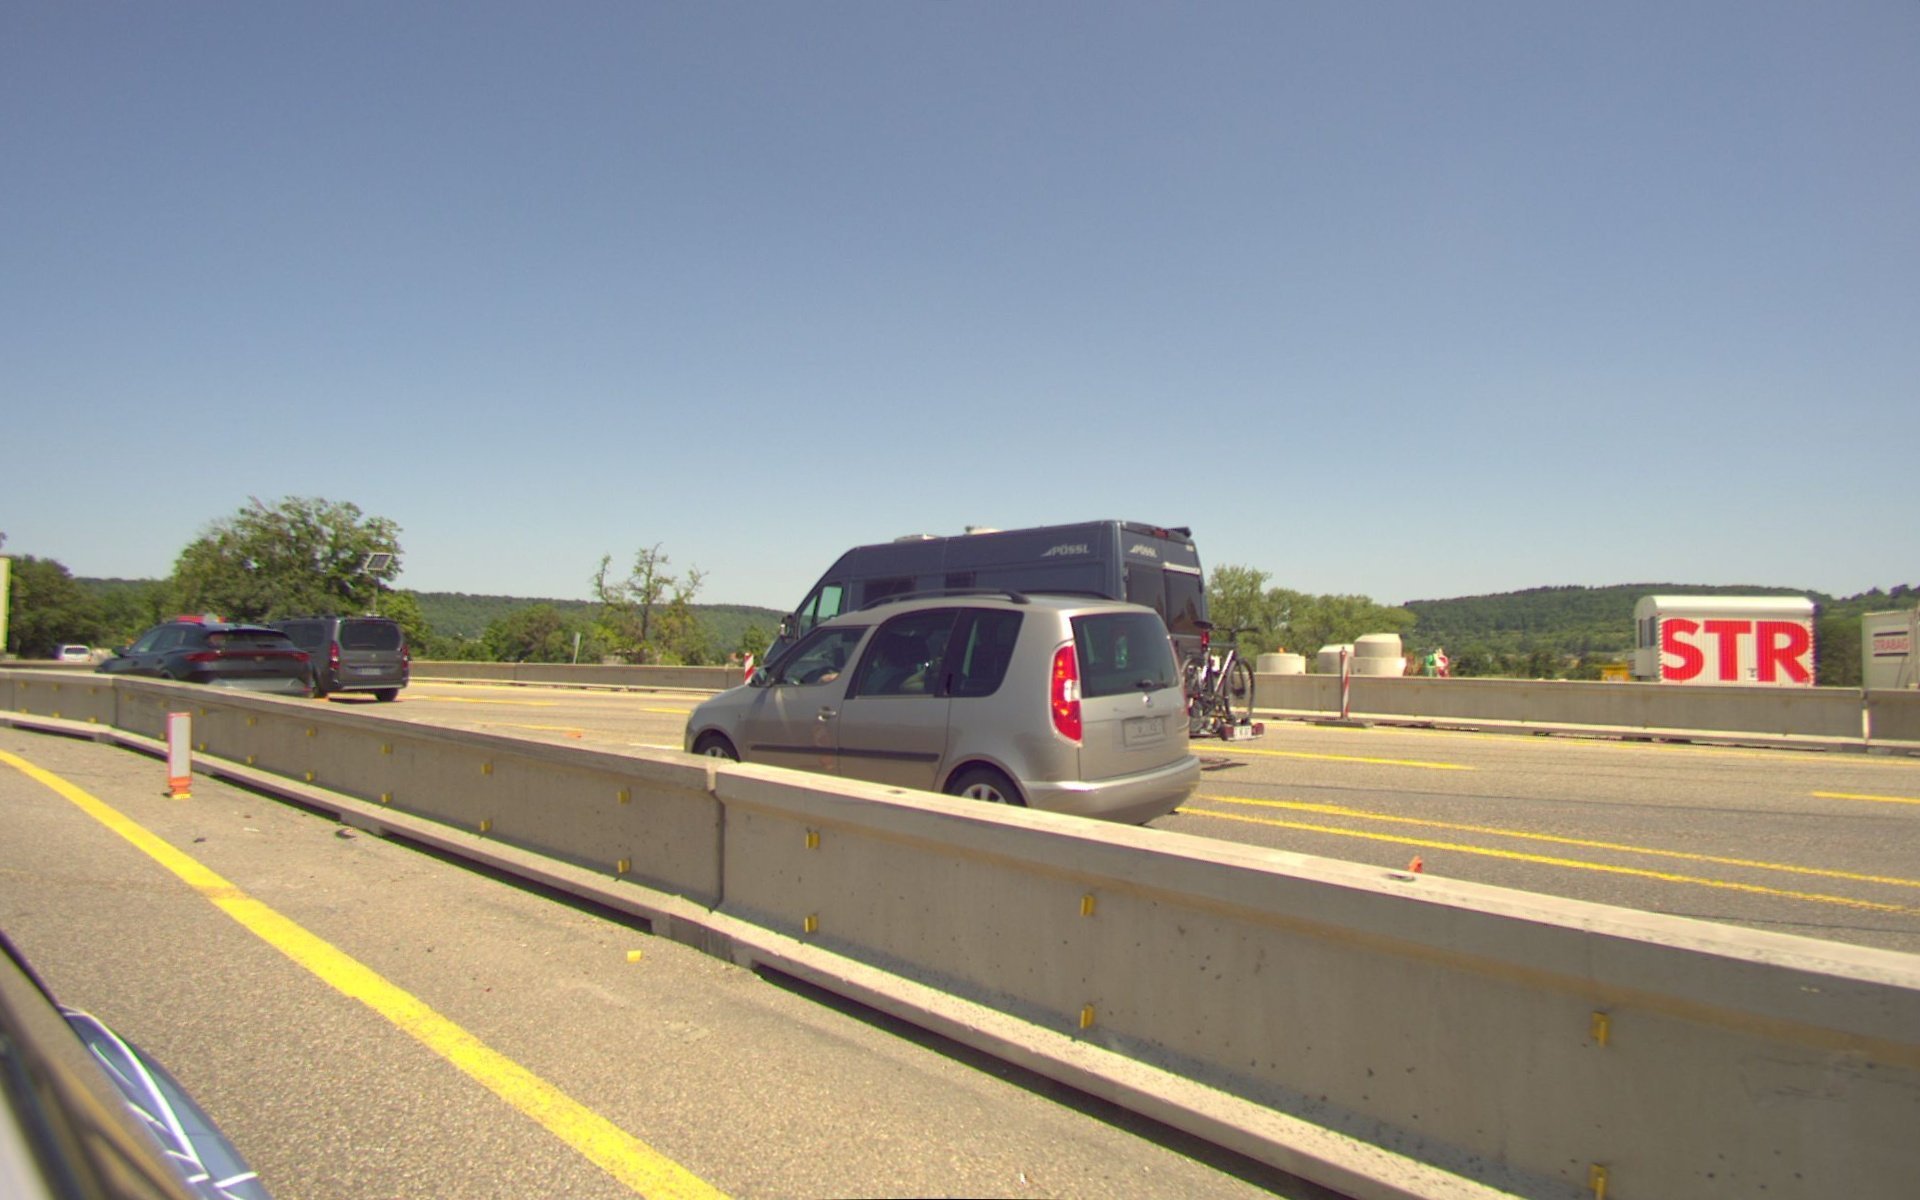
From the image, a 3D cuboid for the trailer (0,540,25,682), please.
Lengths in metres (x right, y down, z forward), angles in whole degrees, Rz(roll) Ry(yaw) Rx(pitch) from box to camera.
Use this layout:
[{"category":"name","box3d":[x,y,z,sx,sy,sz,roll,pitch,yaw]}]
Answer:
[{"category":"trailer","box3d":[-34.951,0.482,31.444,13.818,4.161,2.902,-2,-4,22]}]

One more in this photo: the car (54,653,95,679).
[{"category":"car","box3d":[-68.623,5.149,78.506,1.892,1.956,5.105,2,-5,-36]}]

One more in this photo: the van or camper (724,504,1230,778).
[{"category":"van or camper","box3d":[-0.109,0.505,12.321,6.302,2.561,2.076,-2,-4,41]}]

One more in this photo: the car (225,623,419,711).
[{"category":"car","box3d":[-14.161,1.460,22.386,4.696,1.778,1.761,-2,-4,33]}]

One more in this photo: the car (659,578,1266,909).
[{"category":"car","box3d":[-0.239,0.768,7.105,4.229,1.628,1.737,-2,-2,44]}]

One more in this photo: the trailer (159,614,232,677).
[{"category":"trailer","box3d":[-55.827,3.465,73.731,3.111,4.143,14.182,3,-5,-41]}]

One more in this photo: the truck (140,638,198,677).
[{"category":"truck","box3d":[-66.885,4.893,85.531,7.122,3.087,2.787,-4,-5,44]}]

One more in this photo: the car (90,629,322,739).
[{"category":"car","box3d":[-11.903,1.263,15.879,4.462,1.493,1.674,-2,-5,37]}]

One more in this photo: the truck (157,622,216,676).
[{"category":"truck","box3d":[-60.020,3.883,78.482,3.111,4.016,6.355,3,-5,-41]}]
